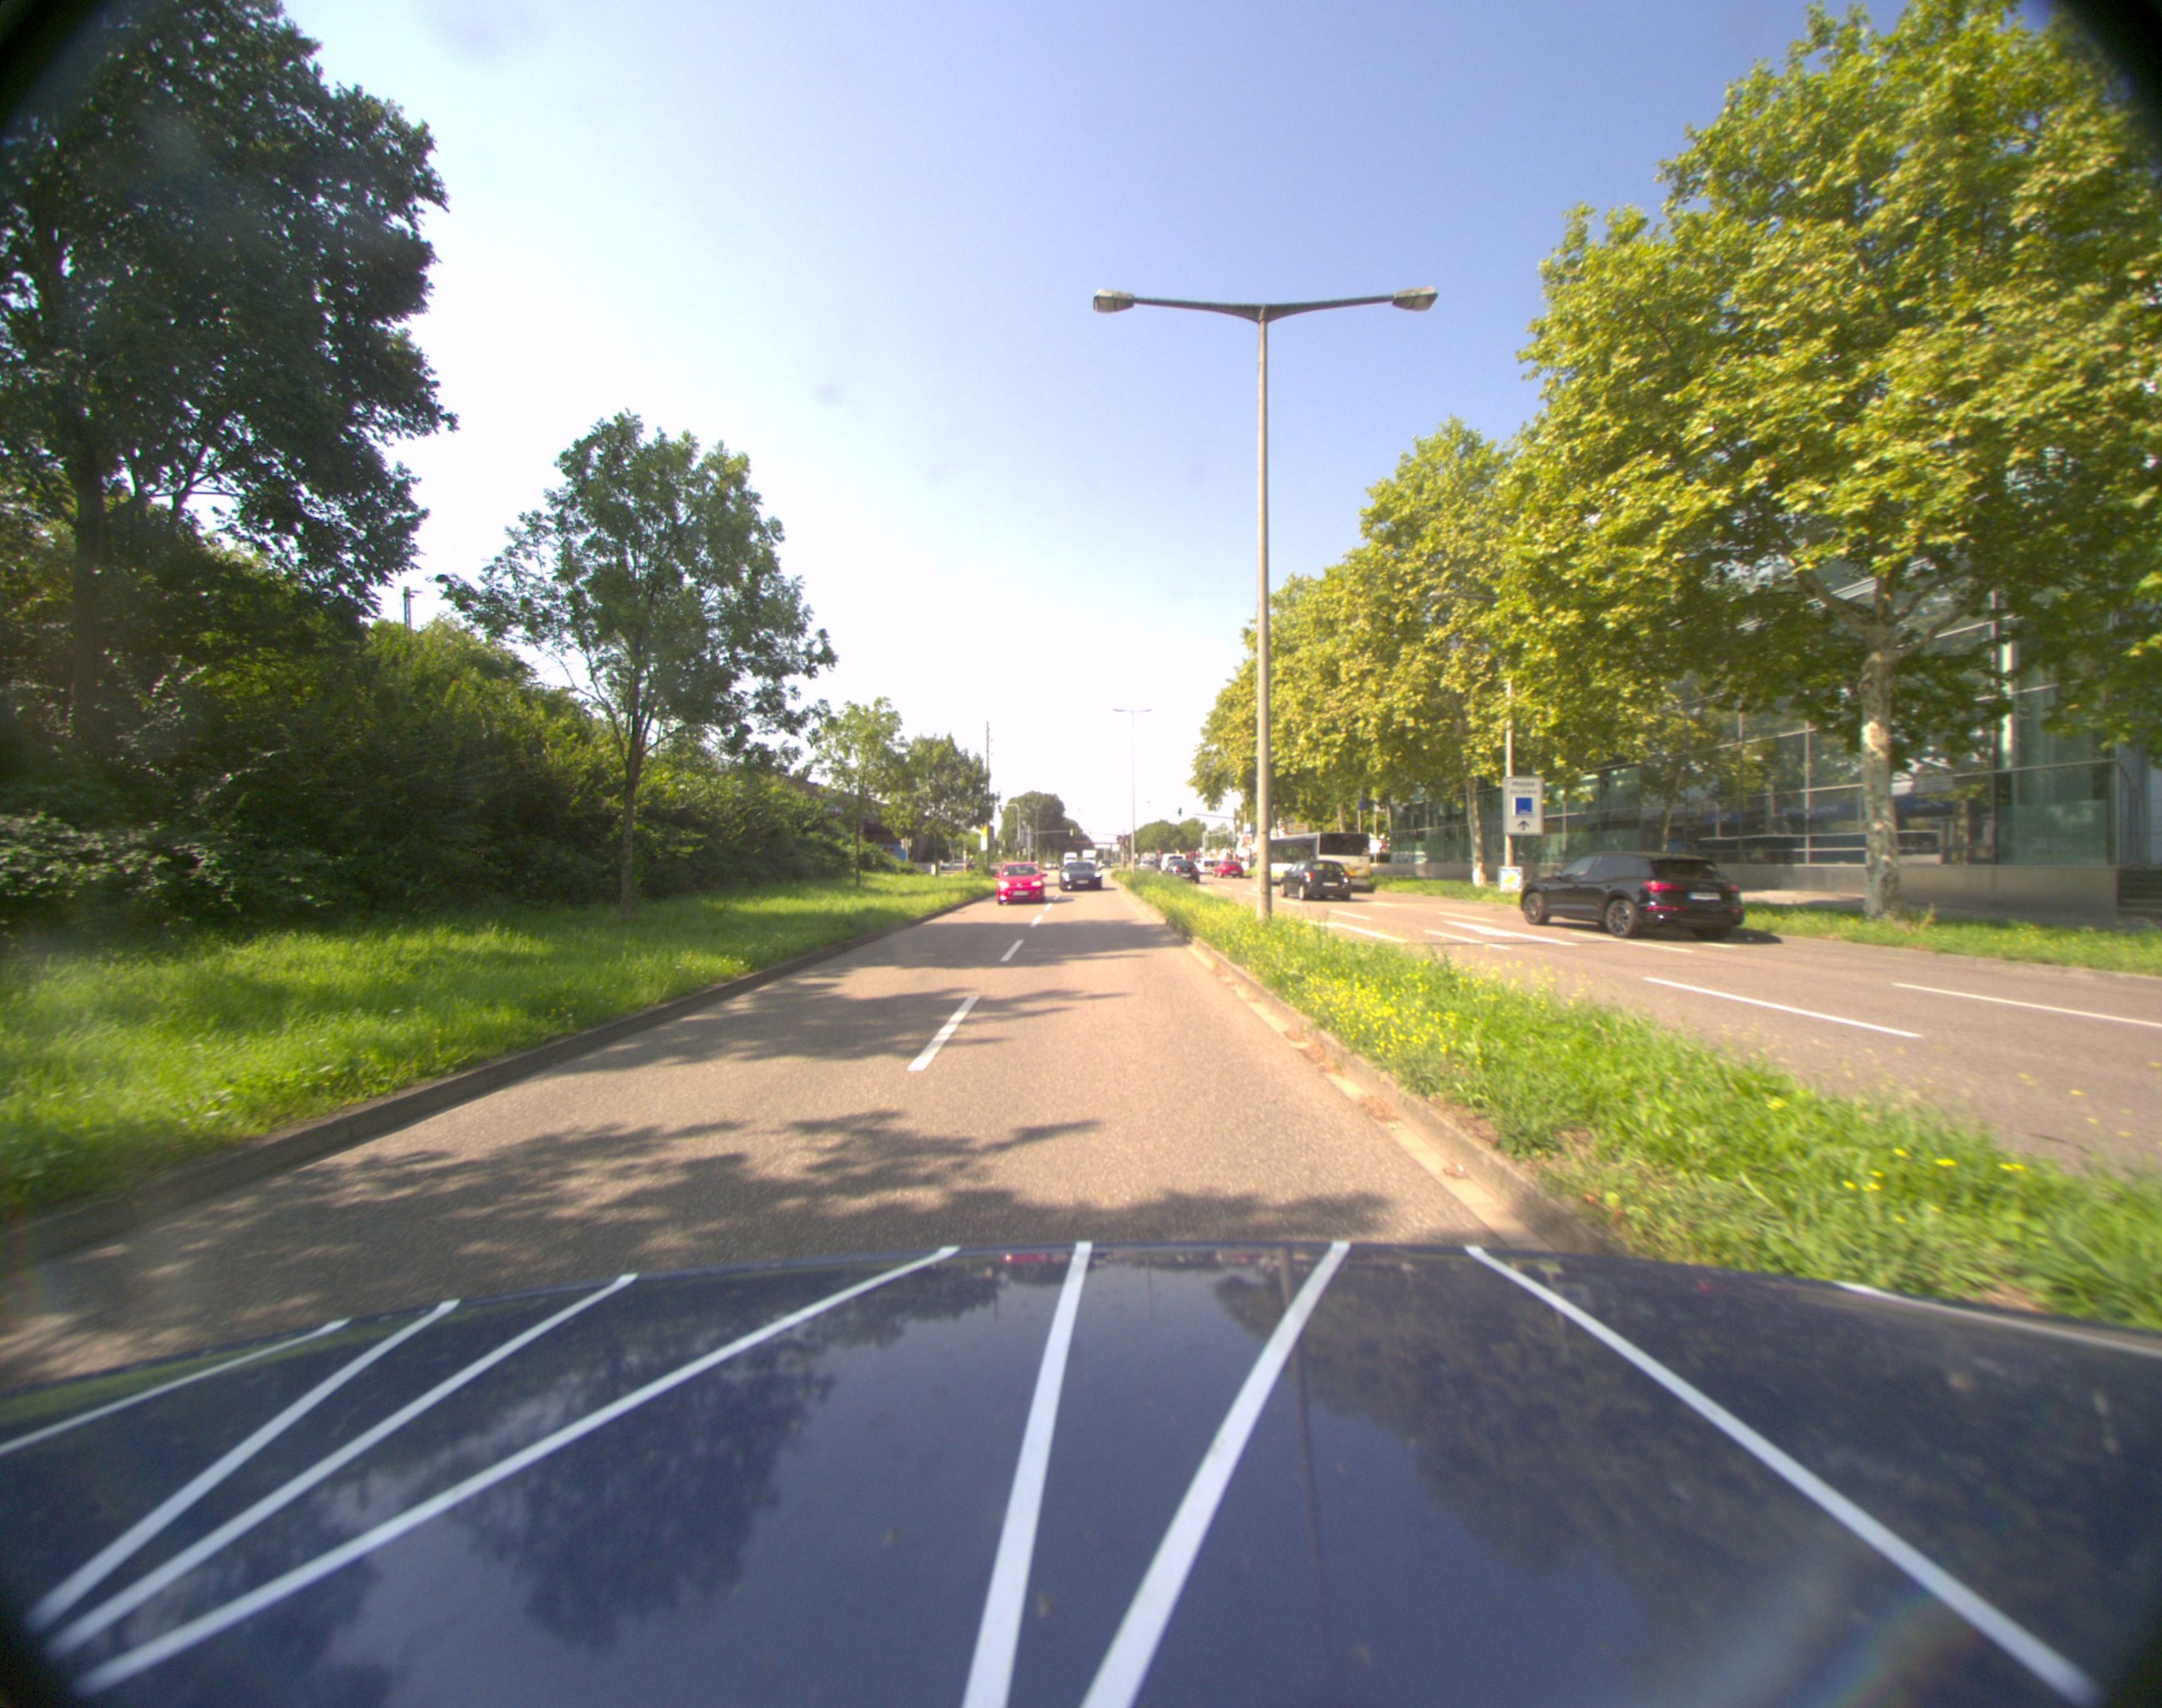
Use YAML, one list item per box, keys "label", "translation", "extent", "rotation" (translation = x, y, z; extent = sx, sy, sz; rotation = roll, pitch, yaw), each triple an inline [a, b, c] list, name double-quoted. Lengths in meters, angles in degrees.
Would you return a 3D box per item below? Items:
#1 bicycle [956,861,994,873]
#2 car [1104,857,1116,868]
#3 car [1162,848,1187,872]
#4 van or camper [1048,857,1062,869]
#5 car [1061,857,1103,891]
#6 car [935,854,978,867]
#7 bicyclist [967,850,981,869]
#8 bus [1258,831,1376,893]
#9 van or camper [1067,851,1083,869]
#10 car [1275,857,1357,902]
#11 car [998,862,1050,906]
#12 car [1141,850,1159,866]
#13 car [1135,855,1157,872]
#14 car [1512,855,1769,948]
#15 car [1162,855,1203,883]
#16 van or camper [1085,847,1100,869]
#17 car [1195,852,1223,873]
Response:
- label: "bicycle"
  translation: [-9.150, 1.102, 65.432]
  extent: [2.982, 1.043, 1.232]
  rotation: [0, -1, -27]
- label: "car"
  translation: [4.848, 1.464, 126.344]
  extent: [1.904, 1.603, 5.199]
  rotation: [-2, -3, 3]
- label: "car"
  translation: [9.018, 0.531, 73.804]
  extent: [1.932, 1.950, 5.186]
  rotation: [1, 4, 2]
- label: "van or camper"
  translation: [-4.048, 1.399, 118.431]
  extent: [1.850, 1.765, 4.177]
  rotation: [-2, -2, 1]
- label: "car"
  translation: [0.010, 0.966, 36.743]
  extent: [1.643, 1.458, 3.553]
  rotation: [-3, -1, -5]
- label: "car"
  translation: [-14.057, 0.728, 85.741]
  extent: [4.604, 1.434, 1.841]
  rotation: [1, 0, -4]
- label: "bicyclist"
  translation: [-9.221, 0.464, 65.371]
  extent: [0.971, 1.648, 0.711]
  rotation: [0, 0, -27]
- label: "bus"
  translation: [11.726, 0.342, 39.146]
  extent: [2.668, 2.678, 10.905]
  rotation: [1, 0, 0]
- label: "van or camper"
  translation: [-0.931, 0.960, 121.177]
  extent: [2.248, 2.467, 6.869]
  rotation: [-2, -3, 1]
- label: "car"
  translation: [8.507, 0.871, 27.856]
  extent: [1.709, 1.481, 4.312]
  rotation: [1, 0, 1]
- label: "car"
  translation: [-2.127, 1.038, 27.677]
  extent: [1.643, 1.458, 3.552]
  rotation: [-2, 0, -7]
- label: "car"
  translation: [9.126, 0.567, 101.107]
  extent: [1.932, 1.946, 5.213]
  rotation: [0, -1, -1]
- label: "car"
  translation: [5.930, 0.889, 69.476]
  extent: [1.618, 1.526, 4.101]
  rotation: [1, -1, 0]
- label: "car"
  translation: [11.031, 0.824, 15.513]
  extent: [1.850, 1.596, 4.610]
  rotation: [1, 0, 0]
- label: "car"
  translation: [5.945, 0.849, 44.909]
  extent: [1.850, 1.481, 4.644]
  rotation: [2, 0, 1]
- label: "van or camper"
  translation: [1.935, 0.666, 125.651]
  extent: [2.247, 3.341, 6.855]
  rotation: [-2, -2, 3]
- label: "car"
  translation: [12.325, 0.781, 73.102]
  extent: [1.932, 1.884, 3.975]
  rotation: [1, 0, -1]
